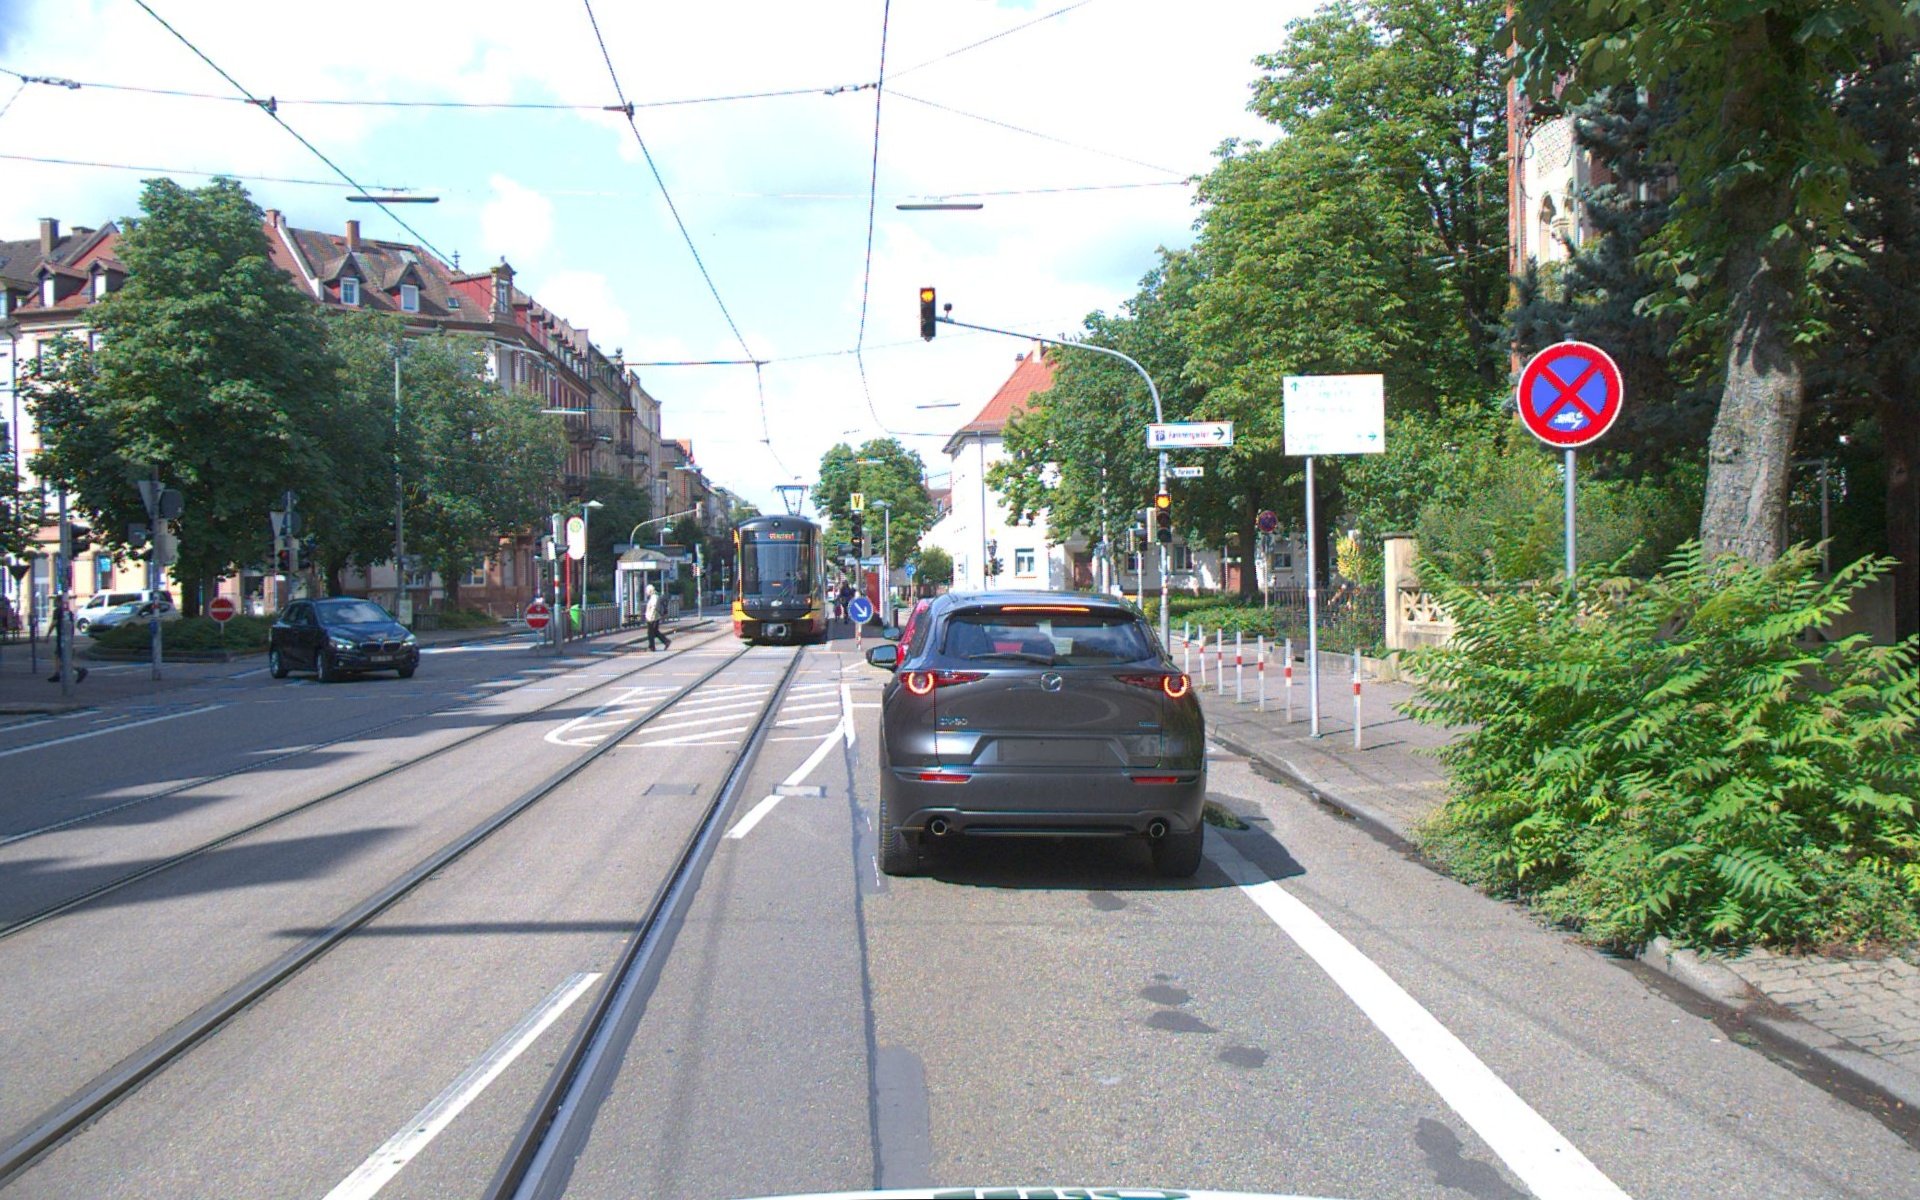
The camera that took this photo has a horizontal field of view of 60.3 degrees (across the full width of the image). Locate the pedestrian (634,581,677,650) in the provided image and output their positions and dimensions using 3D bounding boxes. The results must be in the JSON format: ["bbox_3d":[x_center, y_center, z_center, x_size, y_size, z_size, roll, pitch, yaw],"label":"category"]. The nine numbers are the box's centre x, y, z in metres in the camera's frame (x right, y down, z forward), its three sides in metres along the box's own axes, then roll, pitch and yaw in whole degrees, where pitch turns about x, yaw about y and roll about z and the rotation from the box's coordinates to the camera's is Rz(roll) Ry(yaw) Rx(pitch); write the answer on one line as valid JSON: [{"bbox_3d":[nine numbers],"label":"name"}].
[{"bbox_3d":[-7.810,0.388,42.393,0.703,1.735,0.822,-1,0,30],"label":"pedestrian"}]

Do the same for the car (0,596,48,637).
[{"bbox_3d":[-39.489,0.696,67.035,3.905,1.624,2.000,-1,0,-1],"label":"car"}]

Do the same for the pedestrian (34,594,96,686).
[{"bbox_3d":[-16.994,0.748,31.423,0.735,1.713,0.701,-1,0,8],"label":"pedestrian"}]

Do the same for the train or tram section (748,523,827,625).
[{"bbox_3d":[-6.657,-1.090,65.376,2.699,3.551,14.395,-1,1,-5],"label":"train or tram section"}]

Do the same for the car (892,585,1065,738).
[{"bbox_3d":[0.149,0.613,18.817,1.742,1.526,3.999,1,0,-1],"label":"car"}]

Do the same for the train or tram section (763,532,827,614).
[{"bbox_3d":[-7.830,-1.358,79.706,2.699,3.551,14.395,-1,1,-5],"label":"train or tram section"}]

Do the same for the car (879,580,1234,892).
[{"bbox_3d":[0.443,0.660,10.215,1.742,1.526,3.999,1,0,-1],"label":"car"}]

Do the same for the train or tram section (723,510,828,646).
[{"bbox_3d":[-5.476,-0.748,51.049,2.699,3.551,14.395,-1,1,-5],"label":"train or tram section"}]

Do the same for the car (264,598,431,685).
[{"bbox_3d":[-11.933,0.761,32.077,1.746,1.545,4.008,-1,0,-41],"label":"car"}]

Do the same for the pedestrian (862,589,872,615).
[{"bbox_3d":[-3.666,0.079,65.074,0.372,1.001,0.474,-1,0,-6],"label":"pedestrian"}]

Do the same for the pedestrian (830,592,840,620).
[{"bbox_3d":[-4.883,0.232,64.756,0.372,1.089,0.474,-1,0,-4],"label":"pedestrian"}]

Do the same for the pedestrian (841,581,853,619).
[{"bbox_3d":[-4.423,-0.008,64.848,0.441,1.459,0.474,-1,0,-6],"label":"pedestrian"}]

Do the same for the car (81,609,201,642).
[{"bbox_3d":[-32.540,1.002,65.805,1.643,1.203,3.990,-1,0,32],"label":"car"}]
